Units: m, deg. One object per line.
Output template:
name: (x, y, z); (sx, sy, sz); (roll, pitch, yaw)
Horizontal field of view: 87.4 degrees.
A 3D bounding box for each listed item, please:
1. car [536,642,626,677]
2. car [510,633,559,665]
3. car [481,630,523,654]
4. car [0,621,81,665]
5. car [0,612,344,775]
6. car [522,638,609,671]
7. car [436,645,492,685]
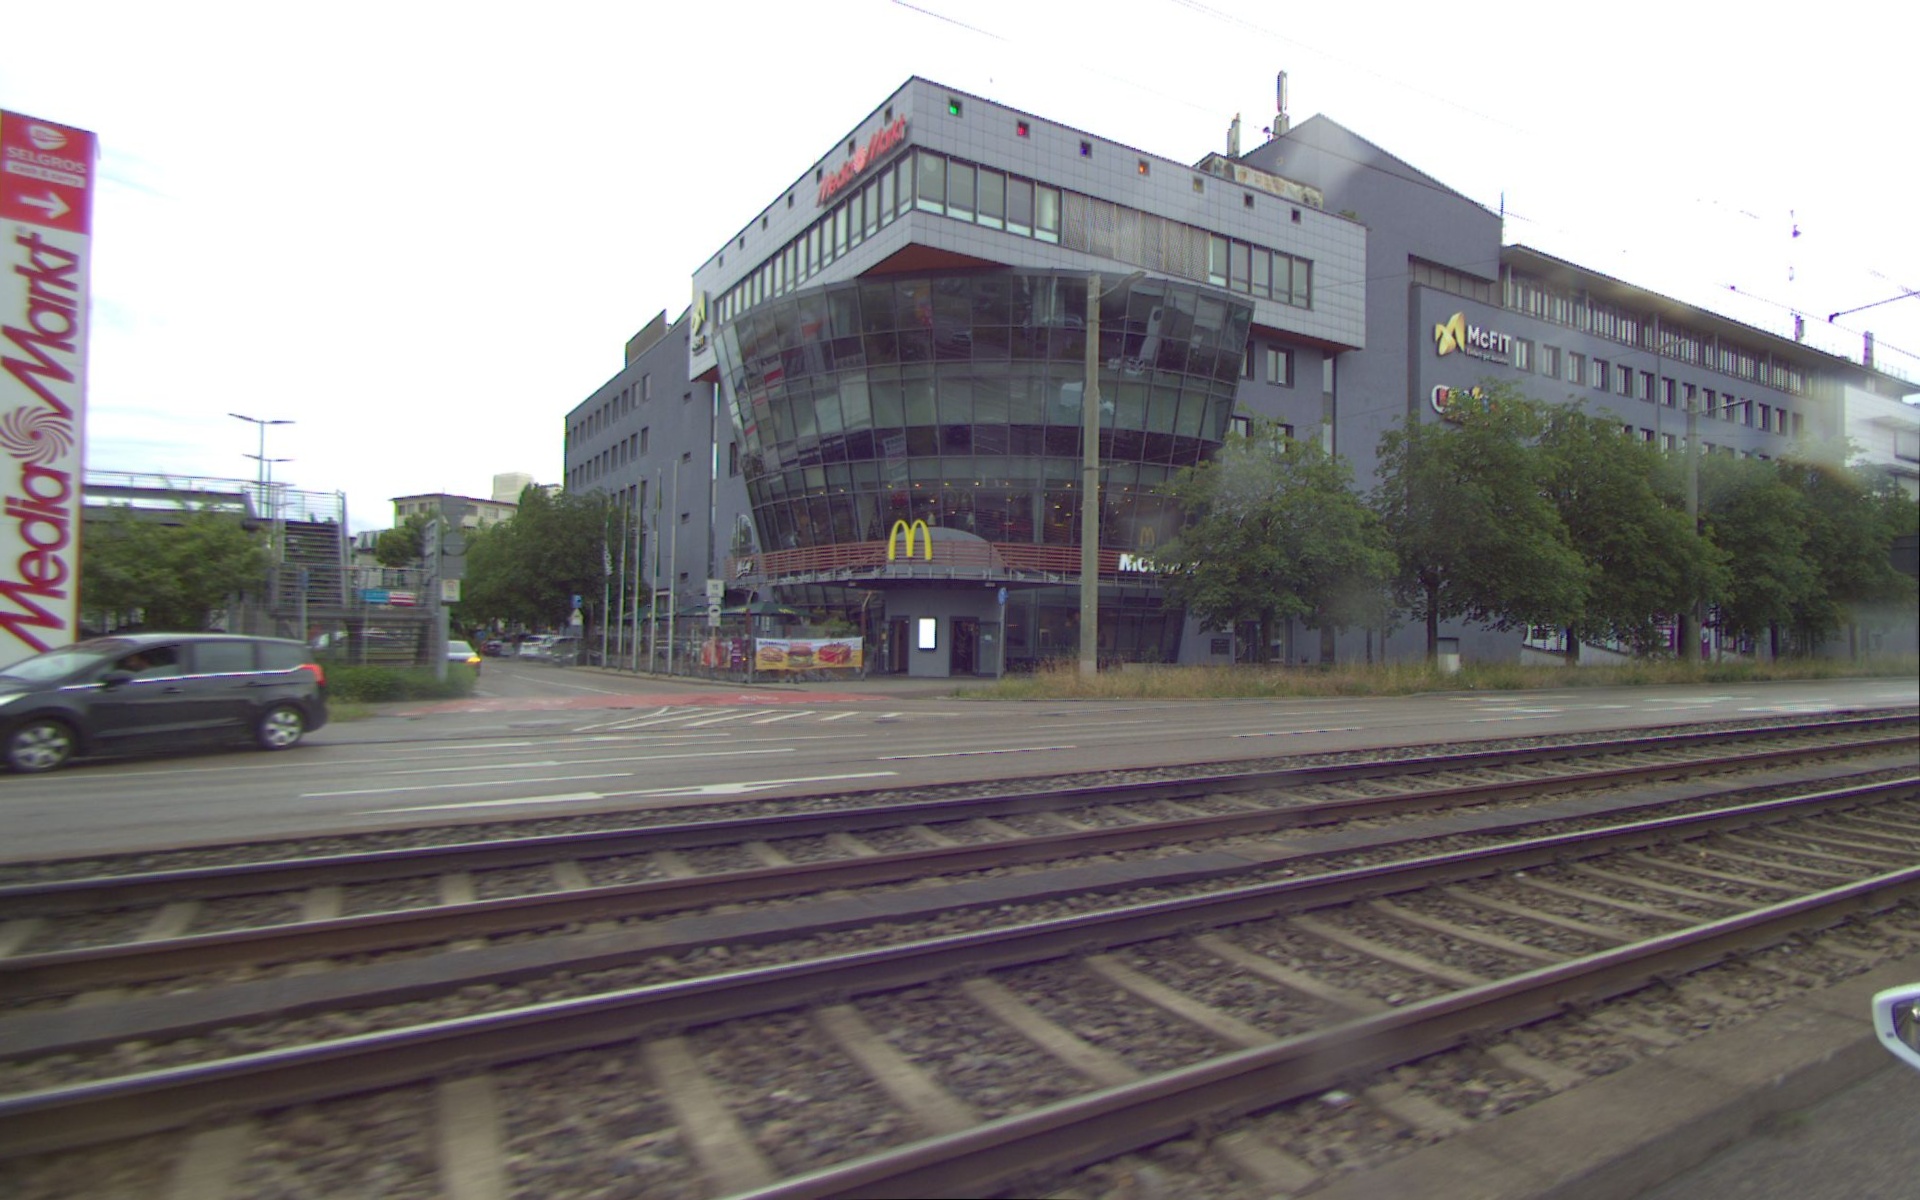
car: (-19.379, 2.992, 51.468); (3.969, 1.591, 1.745); (1, 1, -42)
car: (-27.092, 3.104, 63.919); (1.981, 1.764, 3.959); (1, 1, -36)
car: (-33.741, 3.069, 73.917); (1.981, 1.498, 4.121); (1, 1, -36)
car: (-32.348, 1.418, 33.953); (4.025, 1.300, 1.664); (2, 1, 7)
car: (-10.660, 1.138, 13.069); (1.961, 1.758, 4.214); (-1, -3, 19)
car: (-21.273, 2.914, 54.238); (3.969, 1.591, 1.745); (1, 1, -42)
car: (-19.550, 2.592, 39.530); (1.710, 1.483, 3.970); (1, -5, -30)
